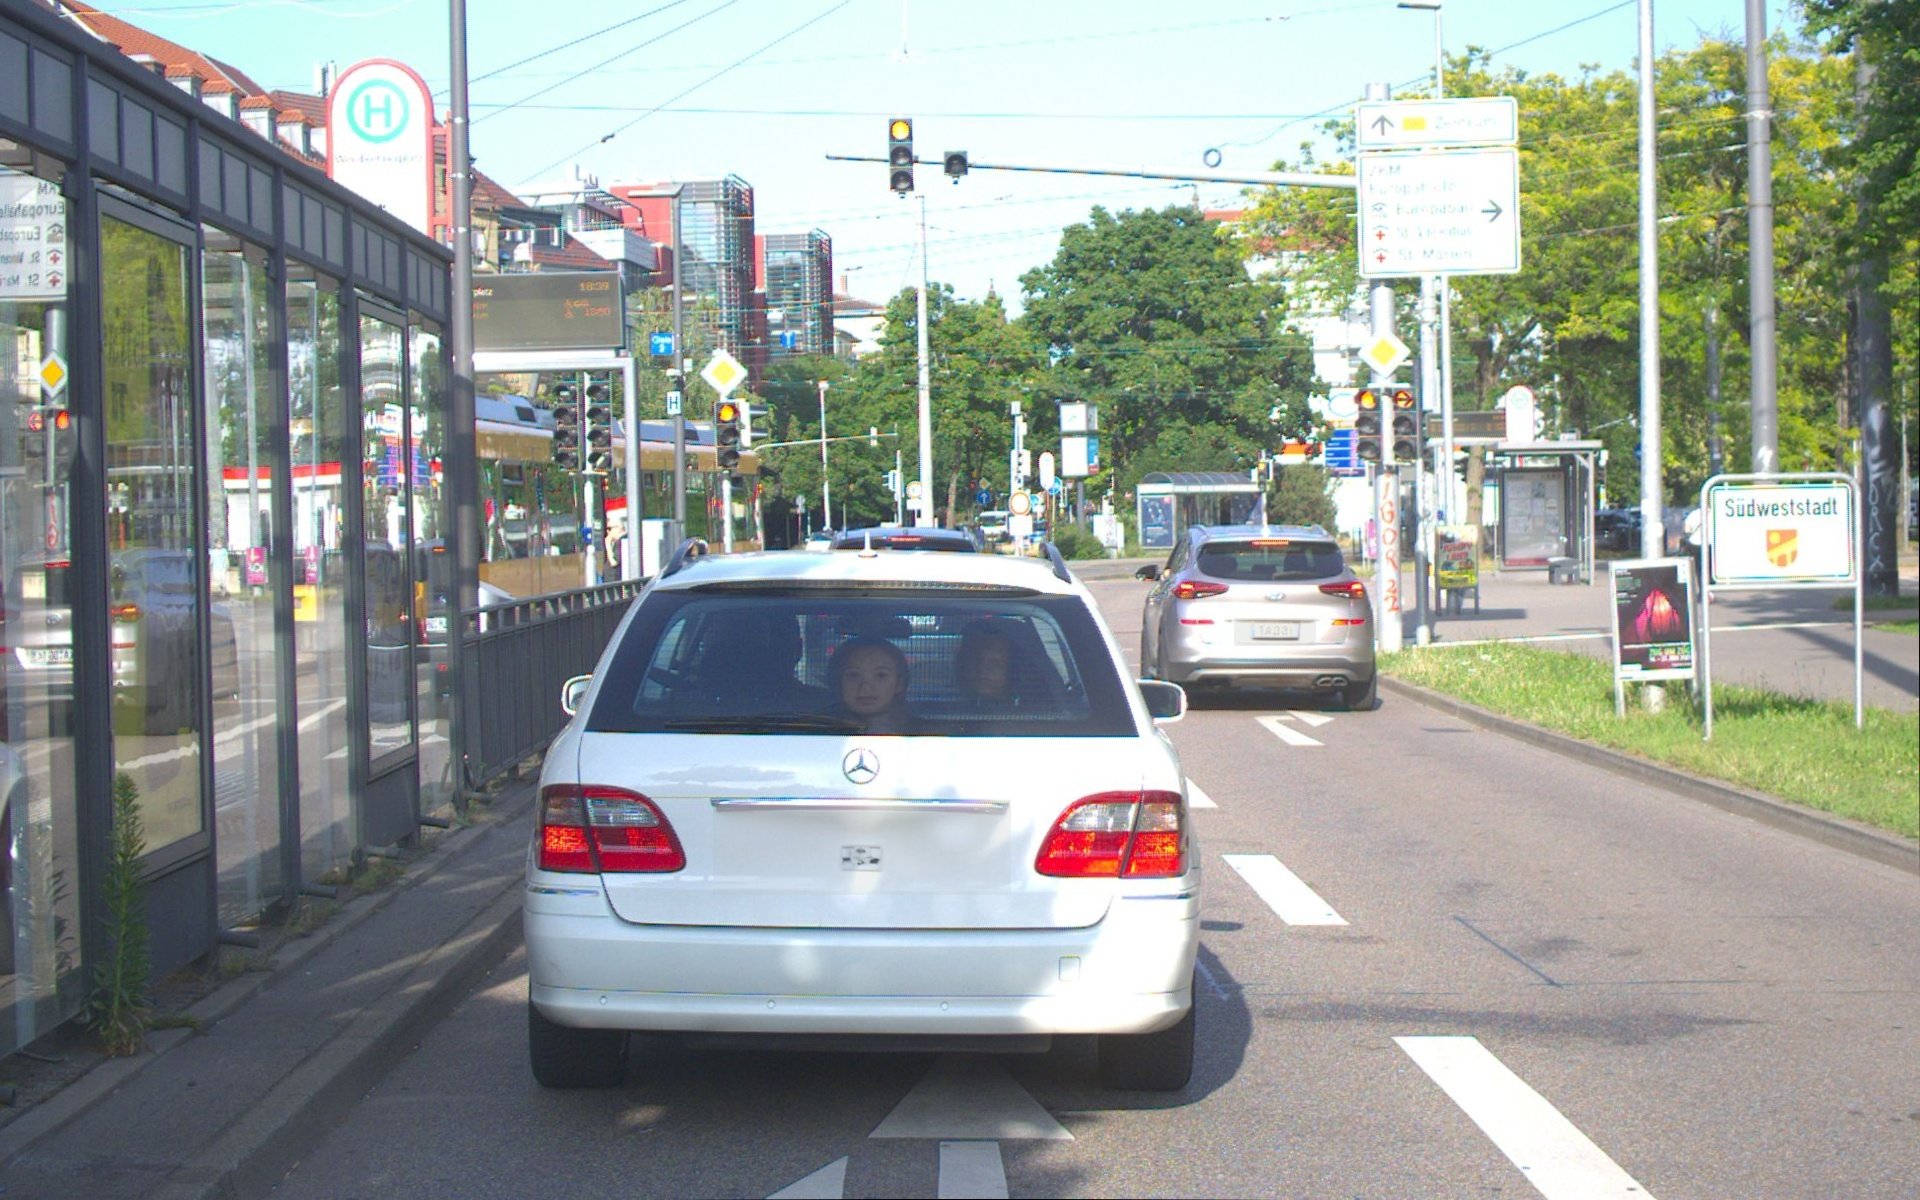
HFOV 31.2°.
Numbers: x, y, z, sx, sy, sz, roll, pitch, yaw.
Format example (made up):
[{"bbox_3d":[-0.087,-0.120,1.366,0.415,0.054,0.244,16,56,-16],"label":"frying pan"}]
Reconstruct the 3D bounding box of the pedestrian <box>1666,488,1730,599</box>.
[{"bbox_3d":[10.987,-0.843,51.205,0.887,1.646,0.746,0,2,8],"label":"pedestrian"}]

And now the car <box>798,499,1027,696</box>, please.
[{"bbox_3d":[-0.369,-0.076,31.545,1.787,1.684,4.000,0,2,4],"label":"car"}]

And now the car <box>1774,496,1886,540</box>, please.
[{"bbox_3d":[34.876,-3.297,137.853,3.986,1.645,2.000,-2,1,-27],"label":"car"}]

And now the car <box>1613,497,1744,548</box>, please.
[{"bbox_3d":[24.555,-2.641,117.518,3.986,1.645,2.000,-2,1,-27],"label":"car"}]

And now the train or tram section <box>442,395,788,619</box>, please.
[{"bbox_3d":[-5.695,-1.639,59.925,2.850,3.467,13.196,0,2,8],"label":"train or tram section"}]

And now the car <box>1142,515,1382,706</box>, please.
[{"bbox_3d":[2.687,0.040,31.194,2.033,1.600,4.000,0,2,4],"label":"car"}]

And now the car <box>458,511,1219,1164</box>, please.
[{"bbox_3d":[-0.272,0.517,10.120,1.758,1.498,4.000,-2,1,0],"label":"car"}]

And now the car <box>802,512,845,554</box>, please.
[{"bbox_3d":[-6.670,-3.293,168.106,1.993,2.007,4.000,-1,1,-1],"label":"car"}]

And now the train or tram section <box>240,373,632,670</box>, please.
[{"bbox_3d":[-6.774,-1.129,46.896,2.850,3.467,13.200,0,2,2],"label":"train or tram section"}]

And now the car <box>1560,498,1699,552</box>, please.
[{"bbox_3d":[21.481,-2.414,110.346,3.992,1.645,1.997,-1,1,25],"label":"car"}]
